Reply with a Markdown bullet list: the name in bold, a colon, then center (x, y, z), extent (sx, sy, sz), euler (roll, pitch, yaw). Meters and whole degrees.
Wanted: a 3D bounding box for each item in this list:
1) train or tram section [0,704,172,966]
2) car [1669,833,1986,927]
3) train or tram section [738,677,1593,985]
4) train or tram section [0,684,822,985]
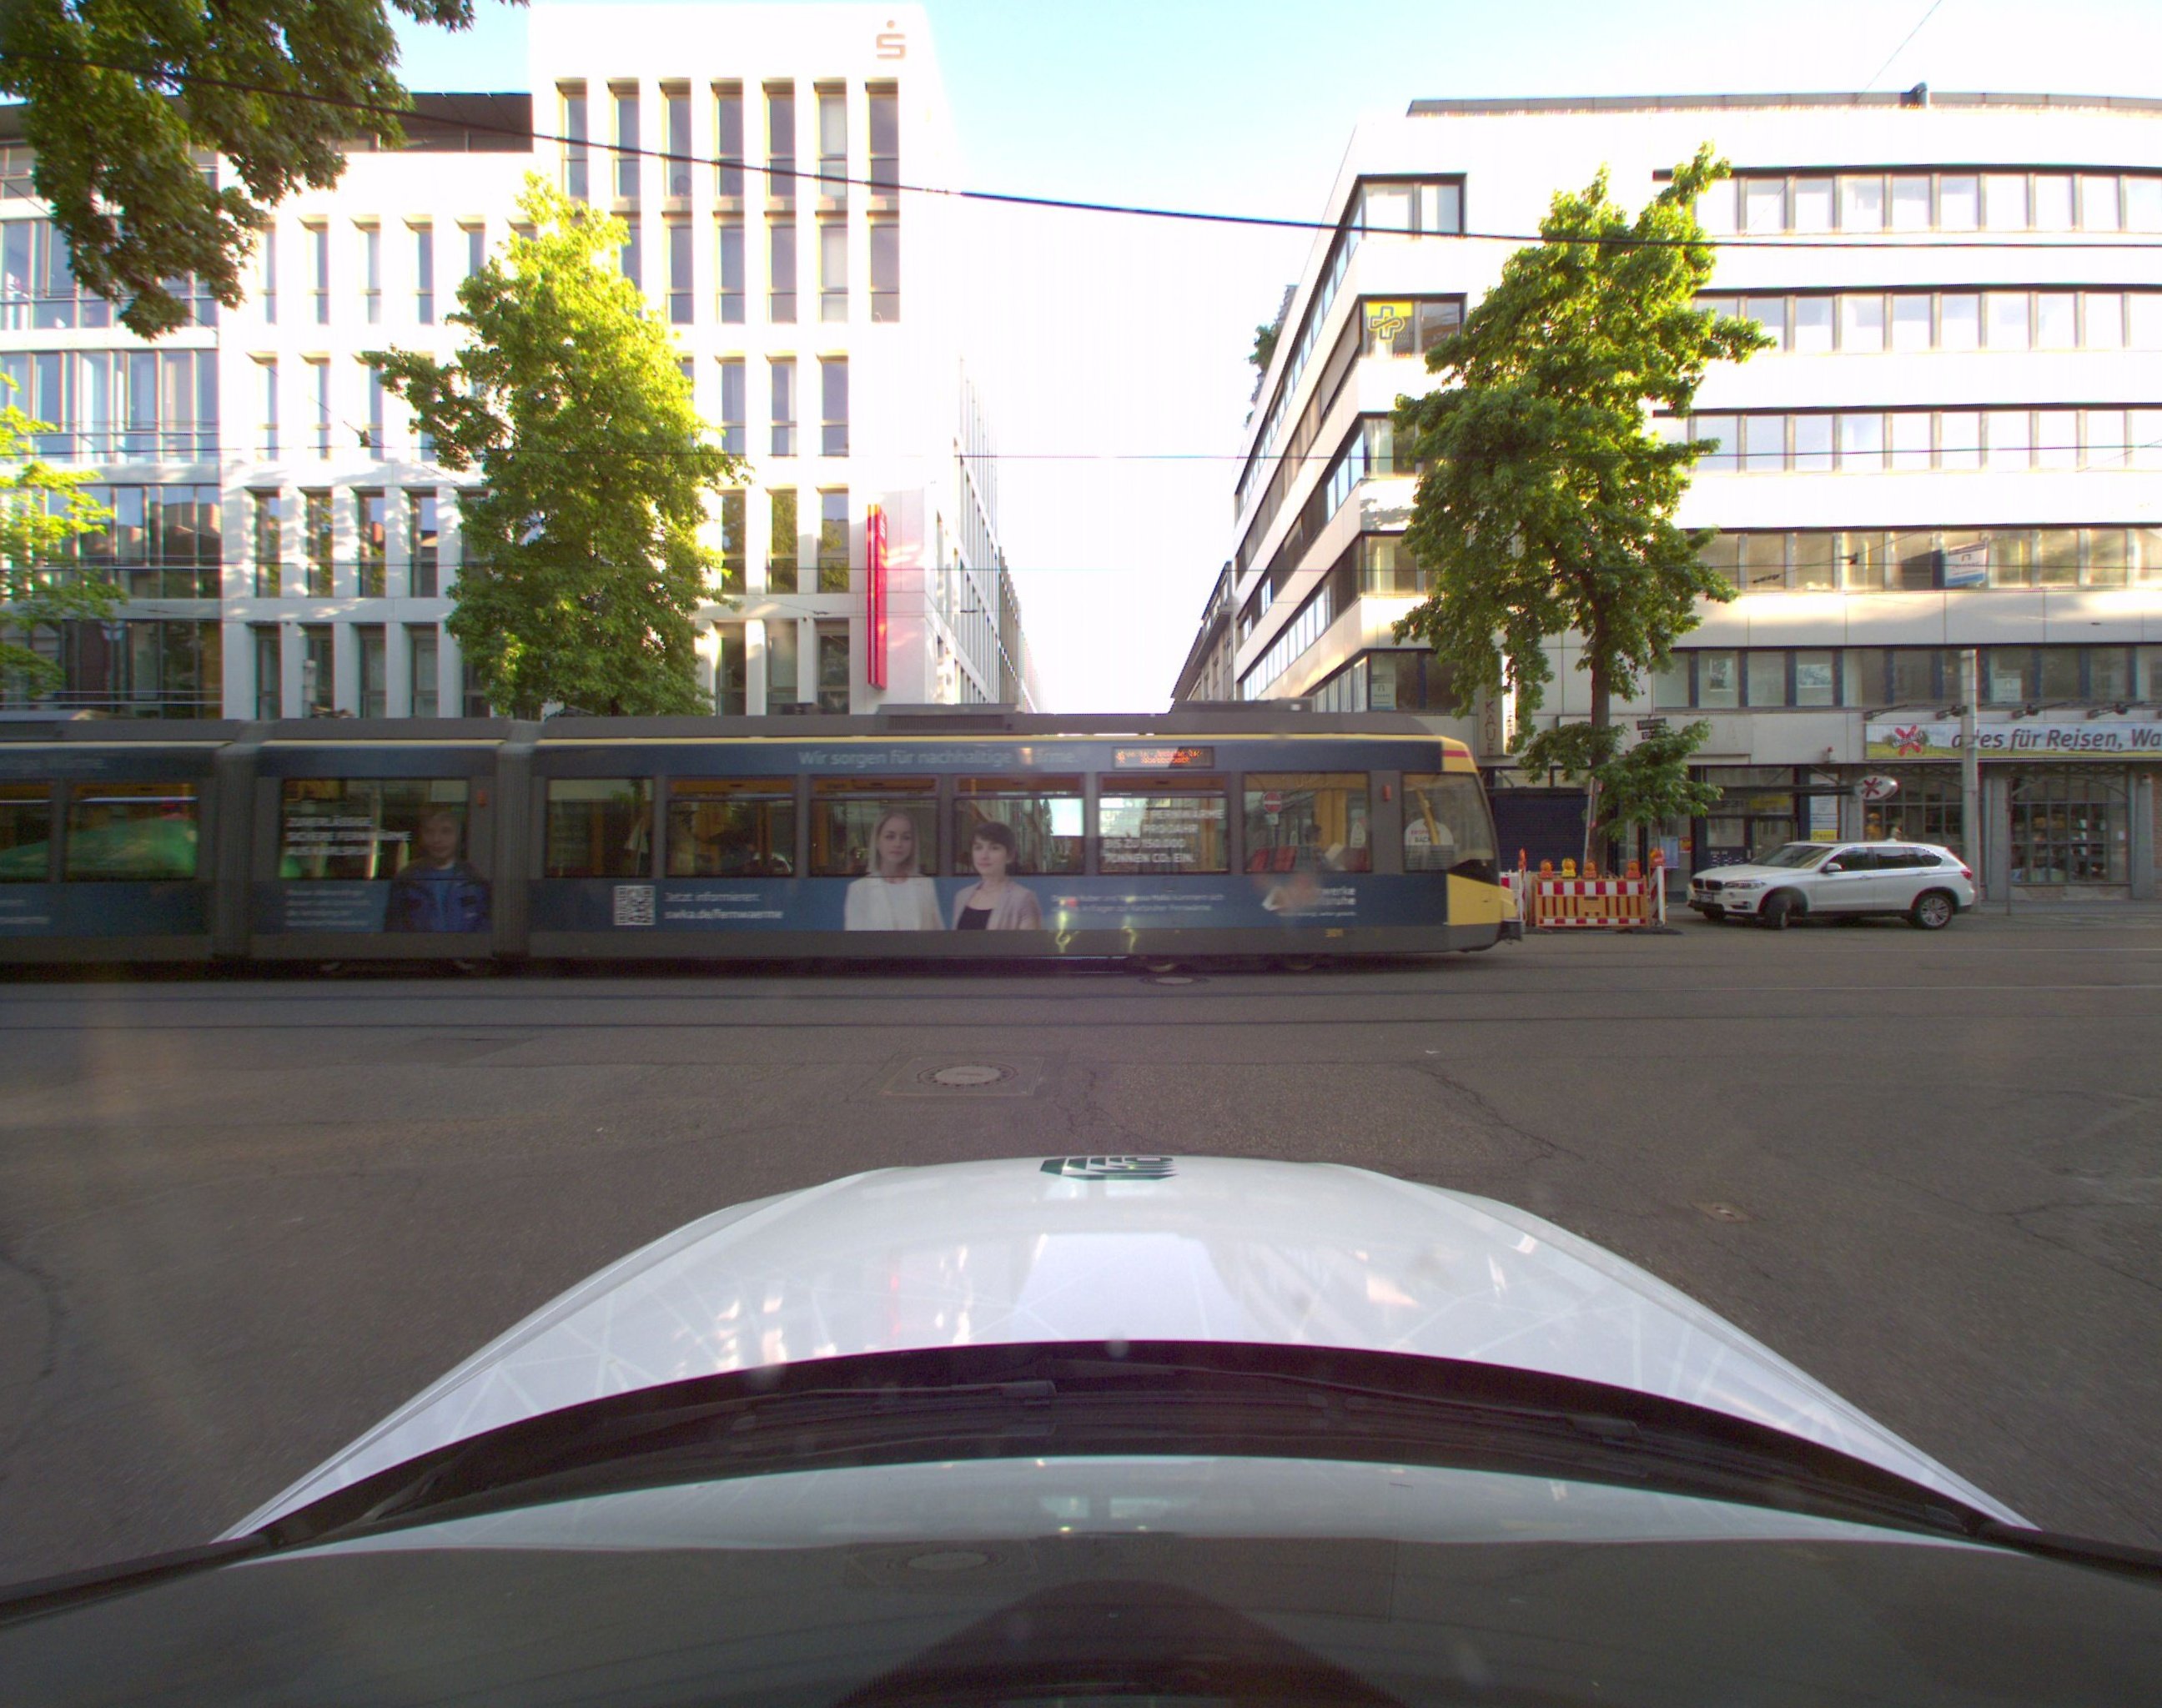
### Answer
- **train or tram section**: center (-19.909, -0.166, 11.495), extent (10.772, 3.524, 3.013), euler (-1, 0, 0)
- **car**: center (15.224, 0.481, 16.839), extent (4.636, 1.770, 2.002), euler (0, 2, 2)
- **train or tram section**: center (1.039, -0.275, 11.390), extent (10.300, 3.523, 3.027), euler (-1, 0, 0)
- **train or tram section**: center (-9.327, -0.217, 11.442), extent (10.332, 3.524, 3.017), euler (-1, -1, 0)
